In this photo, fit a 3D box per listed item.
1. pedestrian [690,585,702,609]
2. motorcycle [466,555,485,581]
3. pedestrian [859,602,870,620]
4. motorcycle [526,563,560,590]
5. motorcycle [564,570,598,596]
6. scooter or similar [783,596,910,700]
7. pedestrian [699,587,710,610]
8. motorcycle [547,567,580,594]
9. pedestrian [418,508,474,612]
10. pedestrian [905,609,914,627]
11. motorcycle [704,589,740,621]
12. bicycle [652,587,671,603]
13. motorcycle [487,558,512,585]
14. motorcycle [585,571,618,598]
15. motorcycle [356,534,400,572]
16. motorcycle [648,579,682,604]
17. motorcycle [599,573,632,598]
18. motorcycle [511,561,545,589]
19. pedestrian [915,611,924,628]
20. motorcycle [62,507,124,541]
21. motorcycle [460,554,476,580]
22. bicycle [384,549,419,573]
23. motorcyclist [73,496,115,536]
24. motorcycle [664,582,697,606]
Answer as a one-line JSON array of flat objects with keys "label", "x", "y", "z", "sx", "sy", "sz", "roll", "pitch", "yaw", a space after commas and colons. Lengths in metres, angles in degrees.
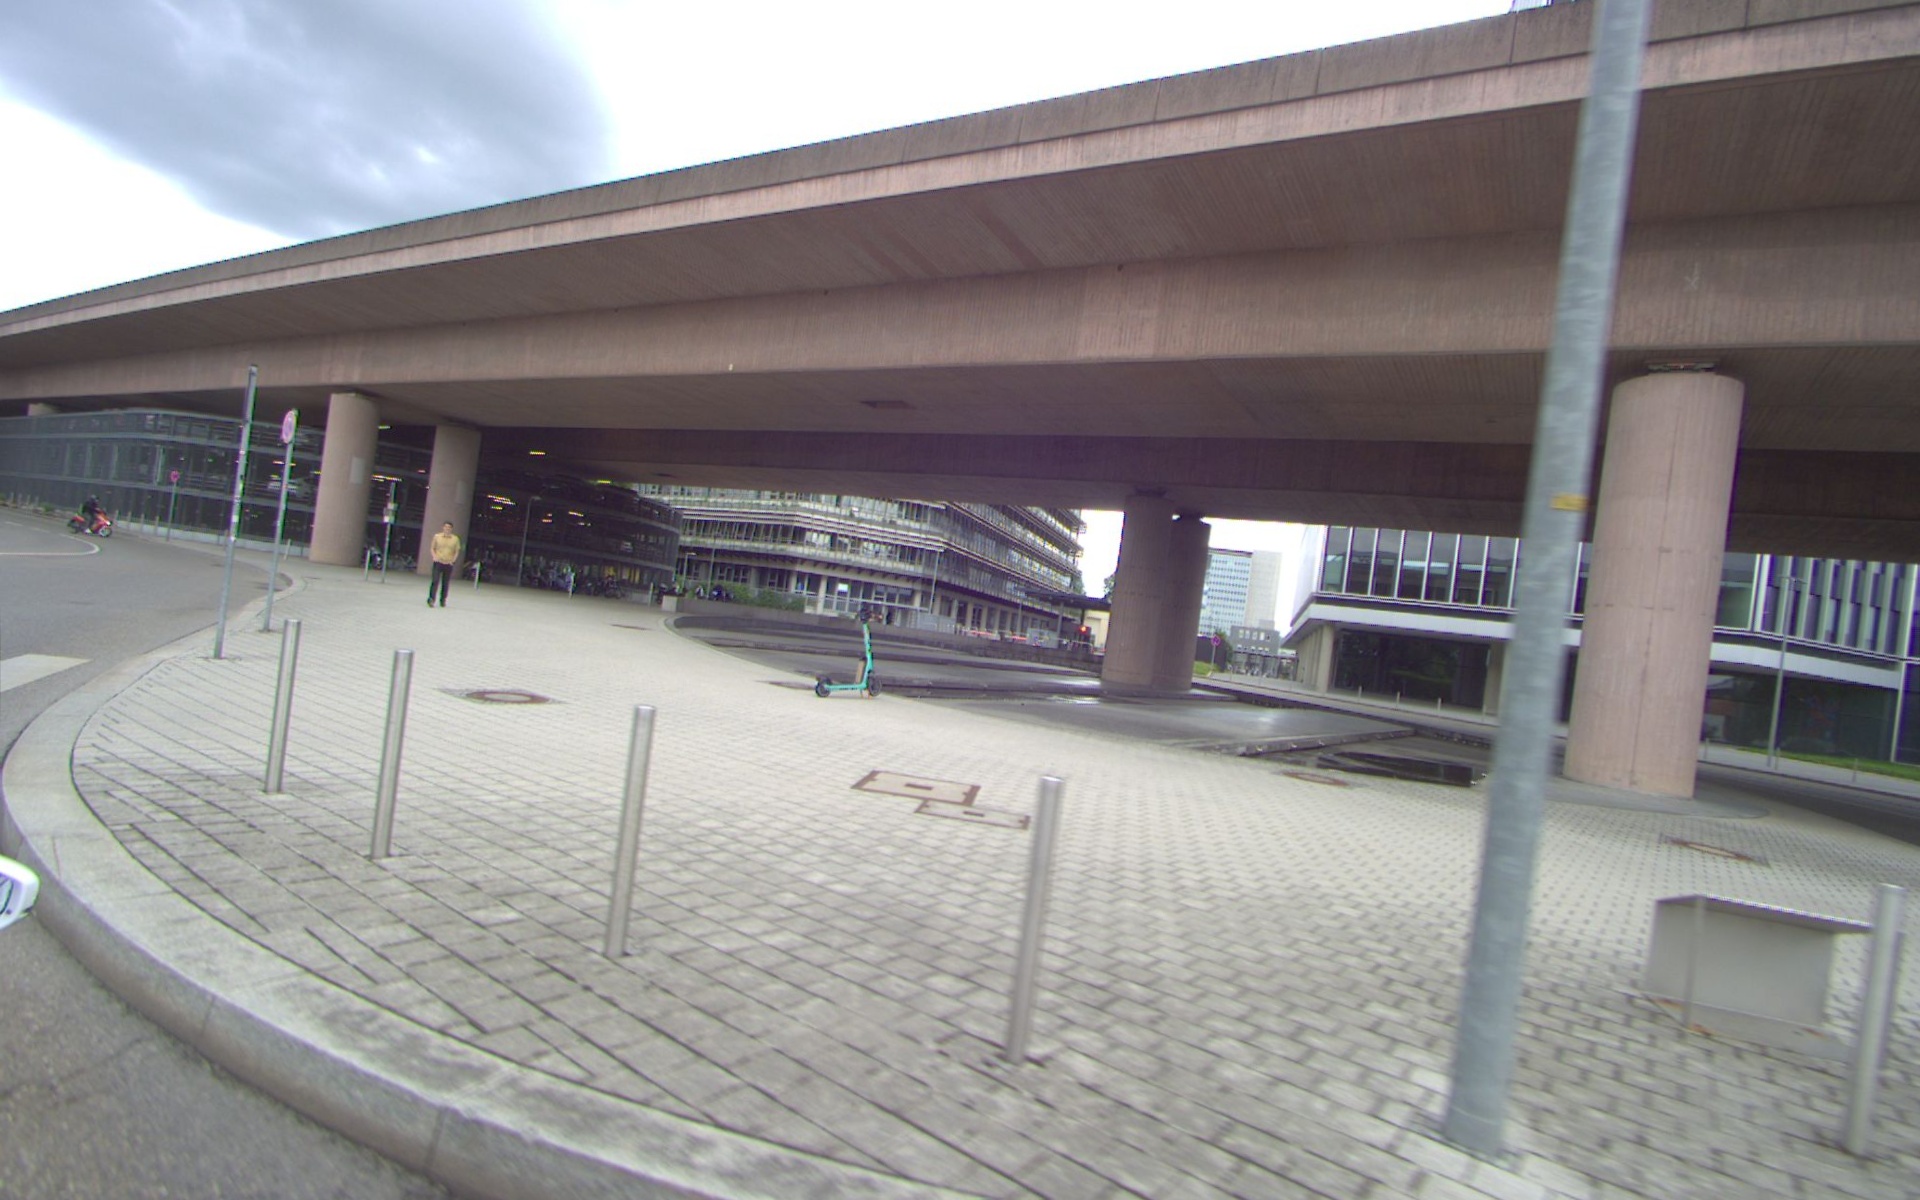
[{"label": "pedestrian", "x": -24.141, "y": -0.269, "z": 92.017, "sx": 0.566, "sy": 2.037, "sz": 0.526, "roll": 7, "pitch": -1, "yaw": 45}, {"label": "motorcycle", "x": -23.742, "y": -1.552, "z": 49.296, "sx": 0.514, "sy": 1.184, "sz": 1.147, "roll": 8, "pitch": -2, "yaw": -17}, {"label": "pedestrian", "x": -8.593, "y": 1.010, "z": 90.620, "sx": 0.489, "sy": 1.499, "sz": 0.542, "roll": 9, "pitch": 1, "yaw": 41}, {"label": "motorcycle", "x": -23.097, "y": -1.317, "z": 55.717, "sx": 2.047, "sy": 1.235, "sz": 0.672, "roll": 9, "pitch": 1, "yaw": 38}, {"label": "motorcycle", "x": -21.559, "y": -0.980, "z": 57.217, "sx": 2.047, "sy": 1.235, "sz": 0.672, "roll": 9, "pitch": 1, "yaw": 38}, {"label": "scooter or similar", "x": -1.596, "y": 0.697, "z": 14.285, "sx": 1.636, "sy": 1.312, "sz": 0.513, "roll": 6, "pitch": 2, "yaw": -39}, {"label": "pedestrian", "x": -23.420, "y": -0.154, "z": 92.269, "sx": 0.526, "sy": 2.037, "sz": 0.566, "roll": 9, "pitch": -1, "yaw": -45}, {"label": "motorcycle", "x": -22.331, "y": -1.080, "z": 56.656, "sx": 2.047, "sy": 1.235, "sz": 0.672, "roll": 9, "pitch": 1, "yaw": 38}, {"label": "pedestrian", "x": -10.869, "y": -0.848, "z": 21.308, "sx": 0.775, "sy": 2.038, "sz": 1.033, "roll": 8, "pitch": 1, "yaw": -25}, {"label": "pedestrian", "x": -4.444, "y": 1.573, "z": 88.411, "sx": 0.487, "sy": 1.499, "sz": 0.545, "roll": 8, "pitch": 1, "yaw": 5}, {"label": "motorcycle", "x": -10.366, "y": 0.234, "z": 43.870, "sx": 0.538, "sy": 1.280, "sz": 1.942, "roll": 9, "pitch": 0, "yaw": 15}, {"label": "bicycle", "x": -19.531, "y": -0.322, "z": 65.872, "sx": 0.466, "sy": 0.906, "sz": 1.506, "roll": 9, "pitch": 0, "yaw": 11}, {"label": "motorcycle", "x": -24.263, "y": -1.518, "z": 52.985, "sx": 0.824, "sy": 1.235, "sz": 2.061, "roll": 8, "pitch": 0, "yaw": -31}, {"label": "motorcycle", "x": -20.819, "y": -0.923, "z": 58.444, "sx": 2.047, "sy": 1.301, "sz": 0.672, "roll": 9, "pitch": 1, "yaw": 38}, {"label": "motorcycle", "x": -26.886, "y": -2.164, "z": 46.484, "sx": 1.730, "sy": 1.473, "sz": 0.644, "roll": 9, "pitch": 1, "yaw": 21}, {"label": "motorcycle", "x": -18.570, "y": -0.533, "z": 63.278, "sx": 2.327, "sy": 1.291, "sz": 0.672, "roll": 9, "pitch": 1, "yaw": 38}, {"label": "motorcycle", "x": -20.300, "y": -0.854, "z": 59.199, "sx": 2.047, "sy": 1.235, "sz": 0.672, "roll": 9, "pitch": 1, "yaw": 37}, {"label": "motorcycle", "x": -23.605, "y": -1.382, "z": 54.930, "sx": 2.047, "sy": 1.235, "sz": 0.672, "roll": 9, "pitch": 1, "yaw": 38}, {"label": "pedestrian", "x": -3.576, "y": 1.711, "z": 88.554, "sx": 0.487, "sy": 1.499, "sz": 0.545, "roll": 8, "pitch": 1, "yaw": 5}, {"label": "motorcycle", "x": -34.966, "y": -3.079, "z": 40.571, "sx": 1.919, "sy": 1.035, "sz": 0.749, "roll": 9, "pitch": 1, "yaw": 8}, {"label": "motorcycle", "x": -25.109, "y": -1.693, "z": 51.394, "sx": 0.515, "sy": 1.235, "sz": 1.144, "roll": 8, "pitch": 1, "yaw": -23}, {"label": "bicycle", "x": -29.013, "y": -2.033, "z": 52.260, "sx": 1.460, "sy": 0.988, "sz": 0.448, "roll": 9, "pitch": 1, "yaw": -28}, {"label": "motorcyclist", "x": -34.926, "y": -3.369, "z": 40.574, "sx": 0.853, "sy": 1.437, "sz": 0.764, "roll": 9, "pitch": 1, "yaw": 8}, {"label": "motorcycle", "x": -18.057, "y": -0.407, "z": 64.914, "sx": 2.327, "sy": 1.235, "sz": 0.672, "roll": 9, "pitch": 1, "yaw": 38}]
